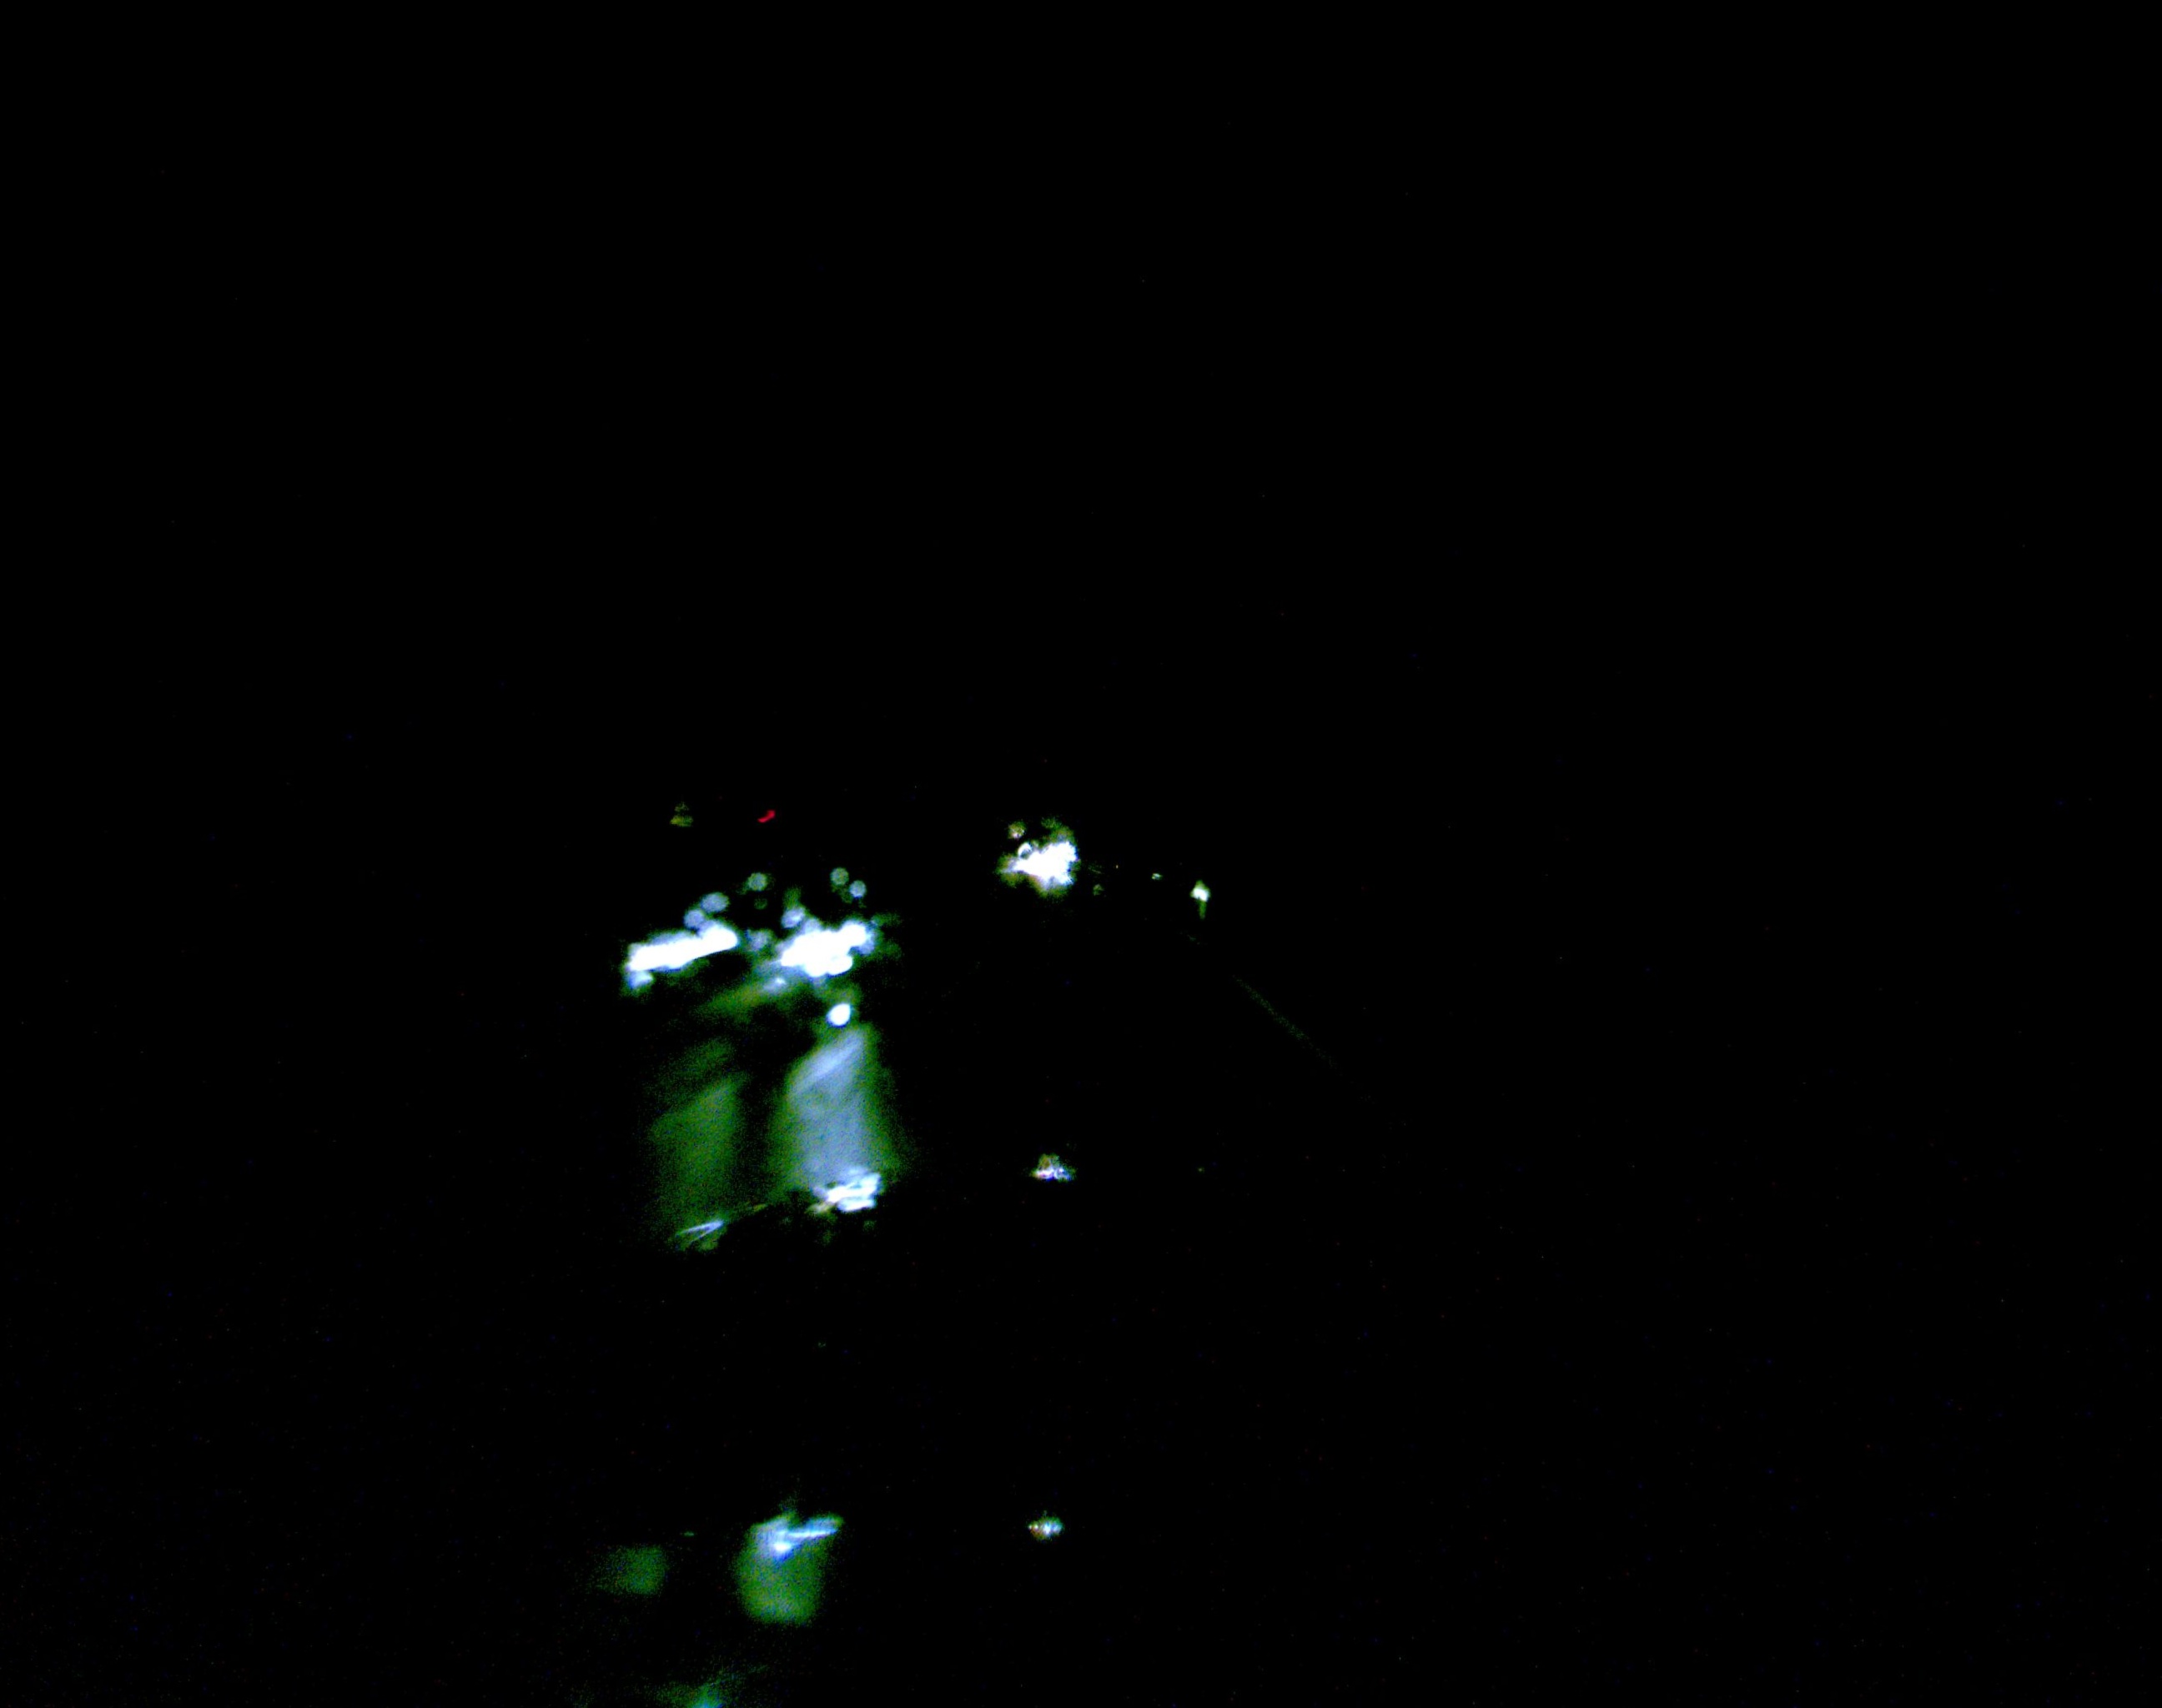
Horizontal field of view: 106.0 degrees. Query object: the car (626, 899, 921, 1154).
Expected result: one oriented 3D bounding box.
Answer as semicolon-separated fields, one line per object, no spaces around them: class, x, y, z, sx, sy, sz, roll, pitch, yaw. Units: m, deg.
car;-3.178;1.671;9.403;1.989;2.013;3.996;-1;0;-3
